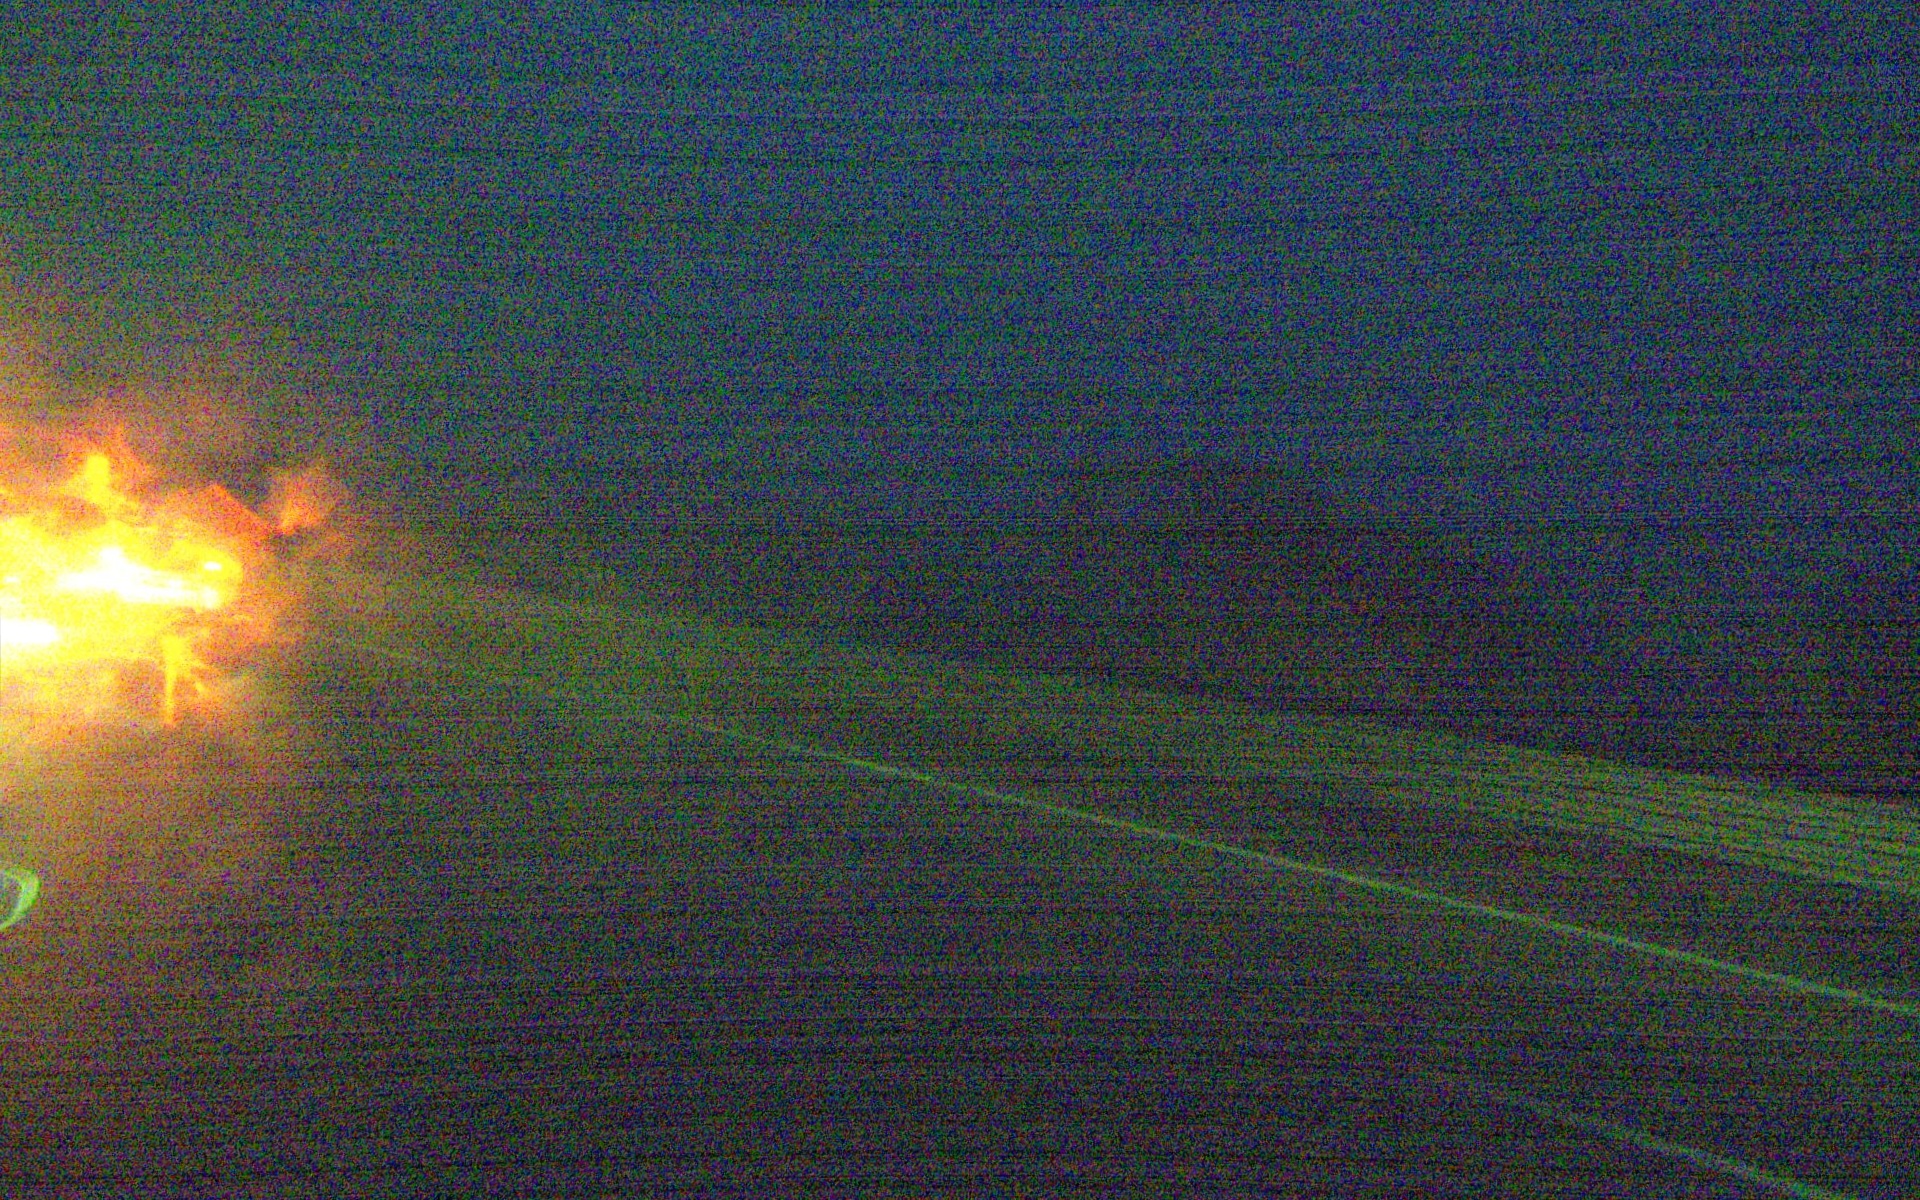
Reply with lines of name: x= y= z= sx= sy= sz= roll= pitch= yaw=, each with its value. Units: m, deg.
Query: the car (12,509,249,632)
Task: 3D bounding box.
car: x=-13.568 y=-0.498 z=16.420 sx=3.945 sy=1.521 sz=1.642 roll=6 pitch=0 yaw=30

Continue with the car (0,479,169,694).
car: x=-8.973 y=-0.260 z=8.763 sx=4.420 sy=1.594 sz=1.743 roll=5 pitch=-2 yaw=31
